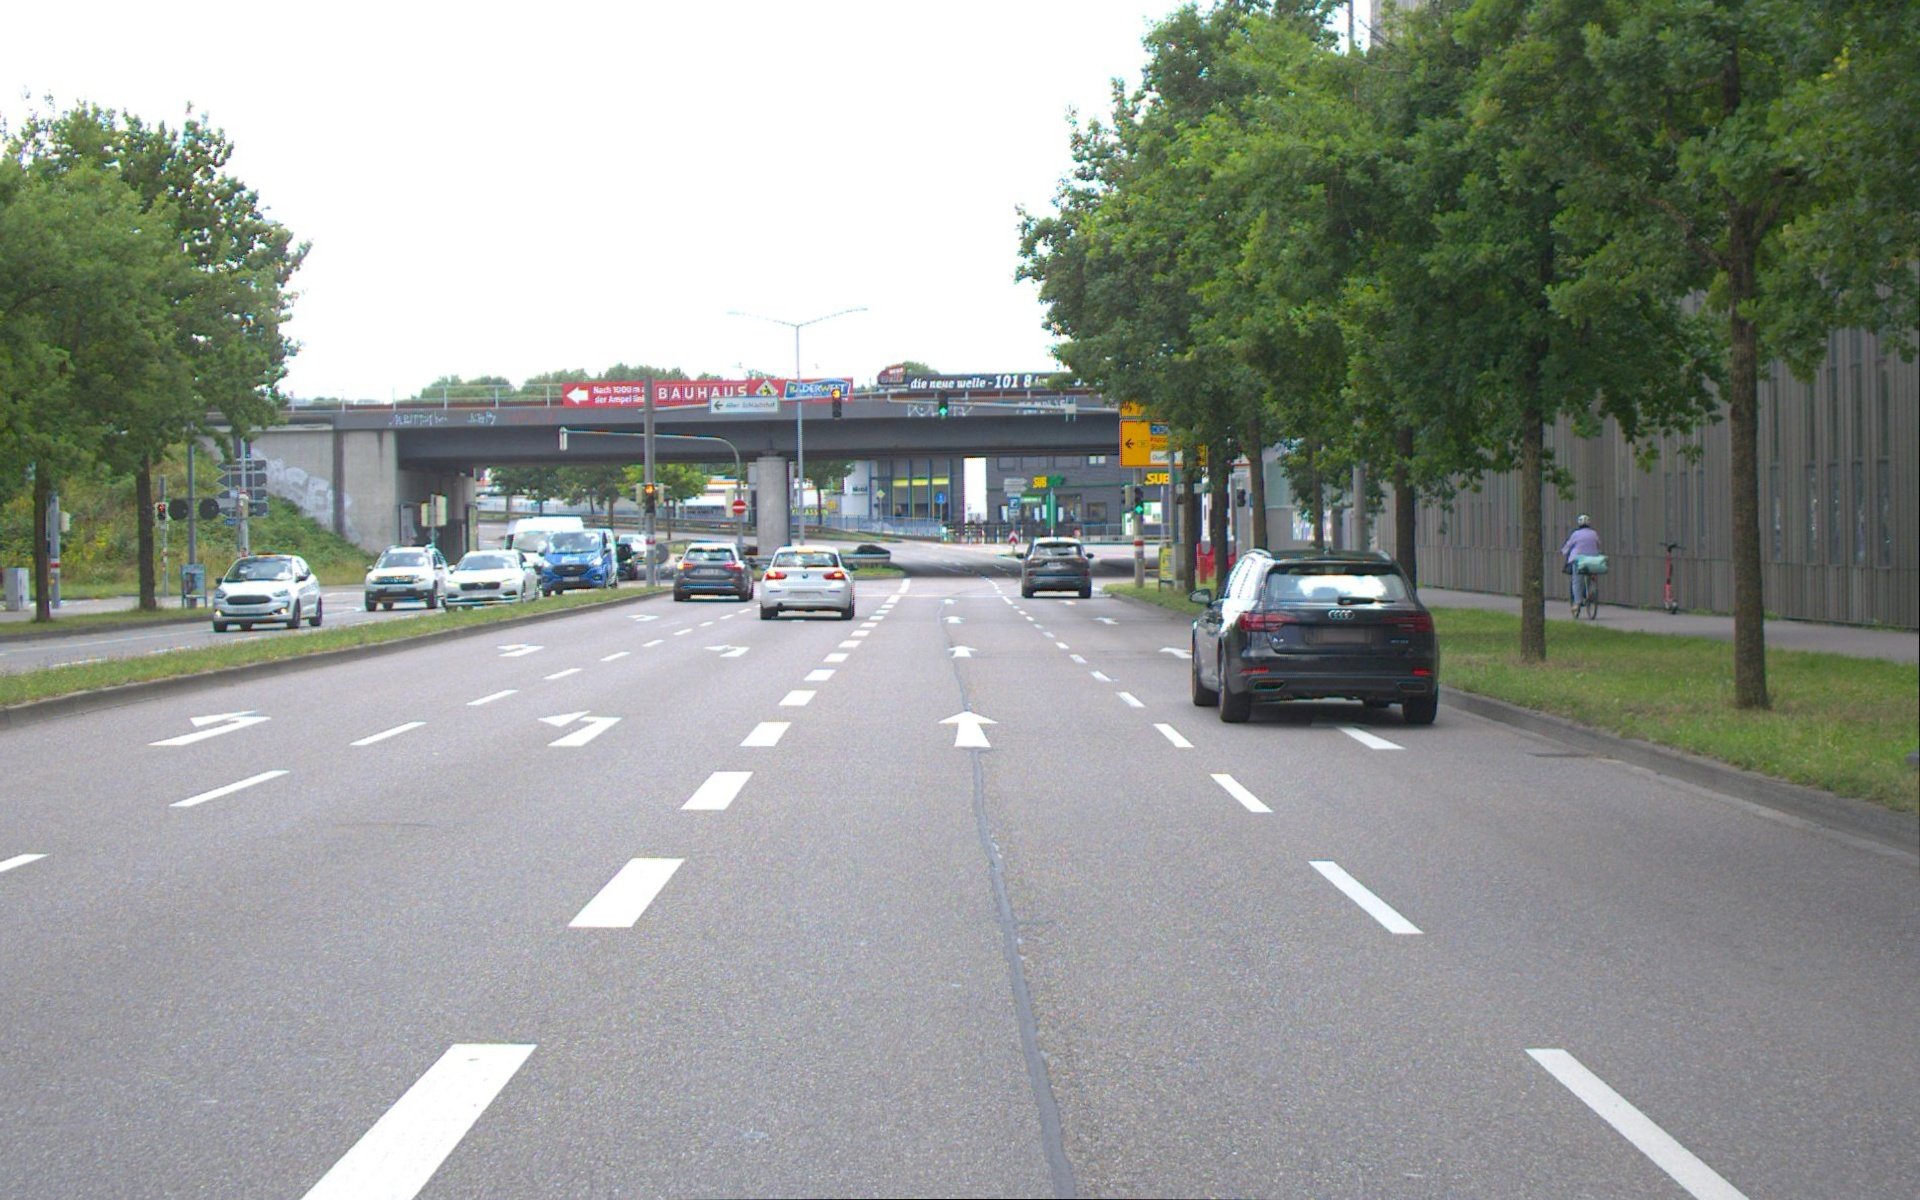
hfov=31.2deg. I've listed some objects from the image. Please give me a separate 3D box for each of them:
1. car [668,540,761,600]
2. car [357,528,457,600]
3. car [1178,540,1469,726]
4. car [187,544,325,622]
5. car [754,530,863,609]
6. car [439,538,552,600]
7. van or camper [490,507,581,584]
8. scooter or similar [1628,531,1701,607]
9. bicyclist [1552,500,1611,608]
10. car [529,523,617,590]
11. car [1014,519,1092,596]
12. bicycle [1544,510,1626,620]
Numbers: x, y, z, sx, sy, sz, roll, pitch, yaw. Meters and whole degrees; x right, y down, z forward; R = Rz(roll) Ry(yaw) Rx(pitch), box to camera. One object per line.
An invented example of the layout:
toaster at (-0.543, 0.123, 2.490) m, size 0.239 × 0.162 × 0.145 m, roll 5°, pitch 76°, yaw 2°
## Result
car at (-6.083, -0.777, 85.673) m, size 1.993 × 1.410 × 4.832 m, roll 1°, pitch 1°, yaw 0°
car at (-14.474, -0.967, 90.187) m, size 1.993 × 1.795 × 4.410 m, roll -1°, pitch 1°, yaw -1°
car at (3.044, 0.224, 29.717) m, size 1.993 × 1.385 × 4.576 m, roll 1°, pitch 2°, yaw 0°
car at (-14.338, -0.380, 70.224) m, size 1.914 × 1.438 × 4.415 m, roll -3°, pitch 1°, yaw -1°
car at (-2.943, -0.622, 67.427) m, size 1.915 × 1.410 × 4.296 m, roll 2°, pitch 1°, yaw 0°
car at (-11.176, -0.771, 82.989) m, size 1.993 × 1.426 × 5.024 m, roll -1°, pitch 1°, yaw 0°
van or camper at (-14.388, -1.877, 116.889) m, size 2.351 × 2.531 × 7.065 m, roll 0°, pitch 1°, yaw -1°
scooter or similar at (11.980, -0.537, 58.500) m, size 0.704 × 1.242 × 2.480 m, roll -2°, pitch 1°, yaw 0°
bicyclist at (10.372, -0.769, 57.384) m, size 0.715 × 1.763 × 0.989 m, roll -1°, pitch 1°, yaw -4°
car at (-11.781, -1.352, 105.059) m, size 2.190 × 1.957 × 5.194 m, roll -1°, pitch 1°, yaw -1°
car at (2.534, -1.182, 94.512) m, size 1.993 × 2.030 × 4.713 m, roll -1°, pitch 1°, yaw 0°
bicycle at (10.385, -0.597, 57.177) m, size 0.719 × 1.768 × 2.534 m, roll -1°, pitch 1°, yaw -4°
